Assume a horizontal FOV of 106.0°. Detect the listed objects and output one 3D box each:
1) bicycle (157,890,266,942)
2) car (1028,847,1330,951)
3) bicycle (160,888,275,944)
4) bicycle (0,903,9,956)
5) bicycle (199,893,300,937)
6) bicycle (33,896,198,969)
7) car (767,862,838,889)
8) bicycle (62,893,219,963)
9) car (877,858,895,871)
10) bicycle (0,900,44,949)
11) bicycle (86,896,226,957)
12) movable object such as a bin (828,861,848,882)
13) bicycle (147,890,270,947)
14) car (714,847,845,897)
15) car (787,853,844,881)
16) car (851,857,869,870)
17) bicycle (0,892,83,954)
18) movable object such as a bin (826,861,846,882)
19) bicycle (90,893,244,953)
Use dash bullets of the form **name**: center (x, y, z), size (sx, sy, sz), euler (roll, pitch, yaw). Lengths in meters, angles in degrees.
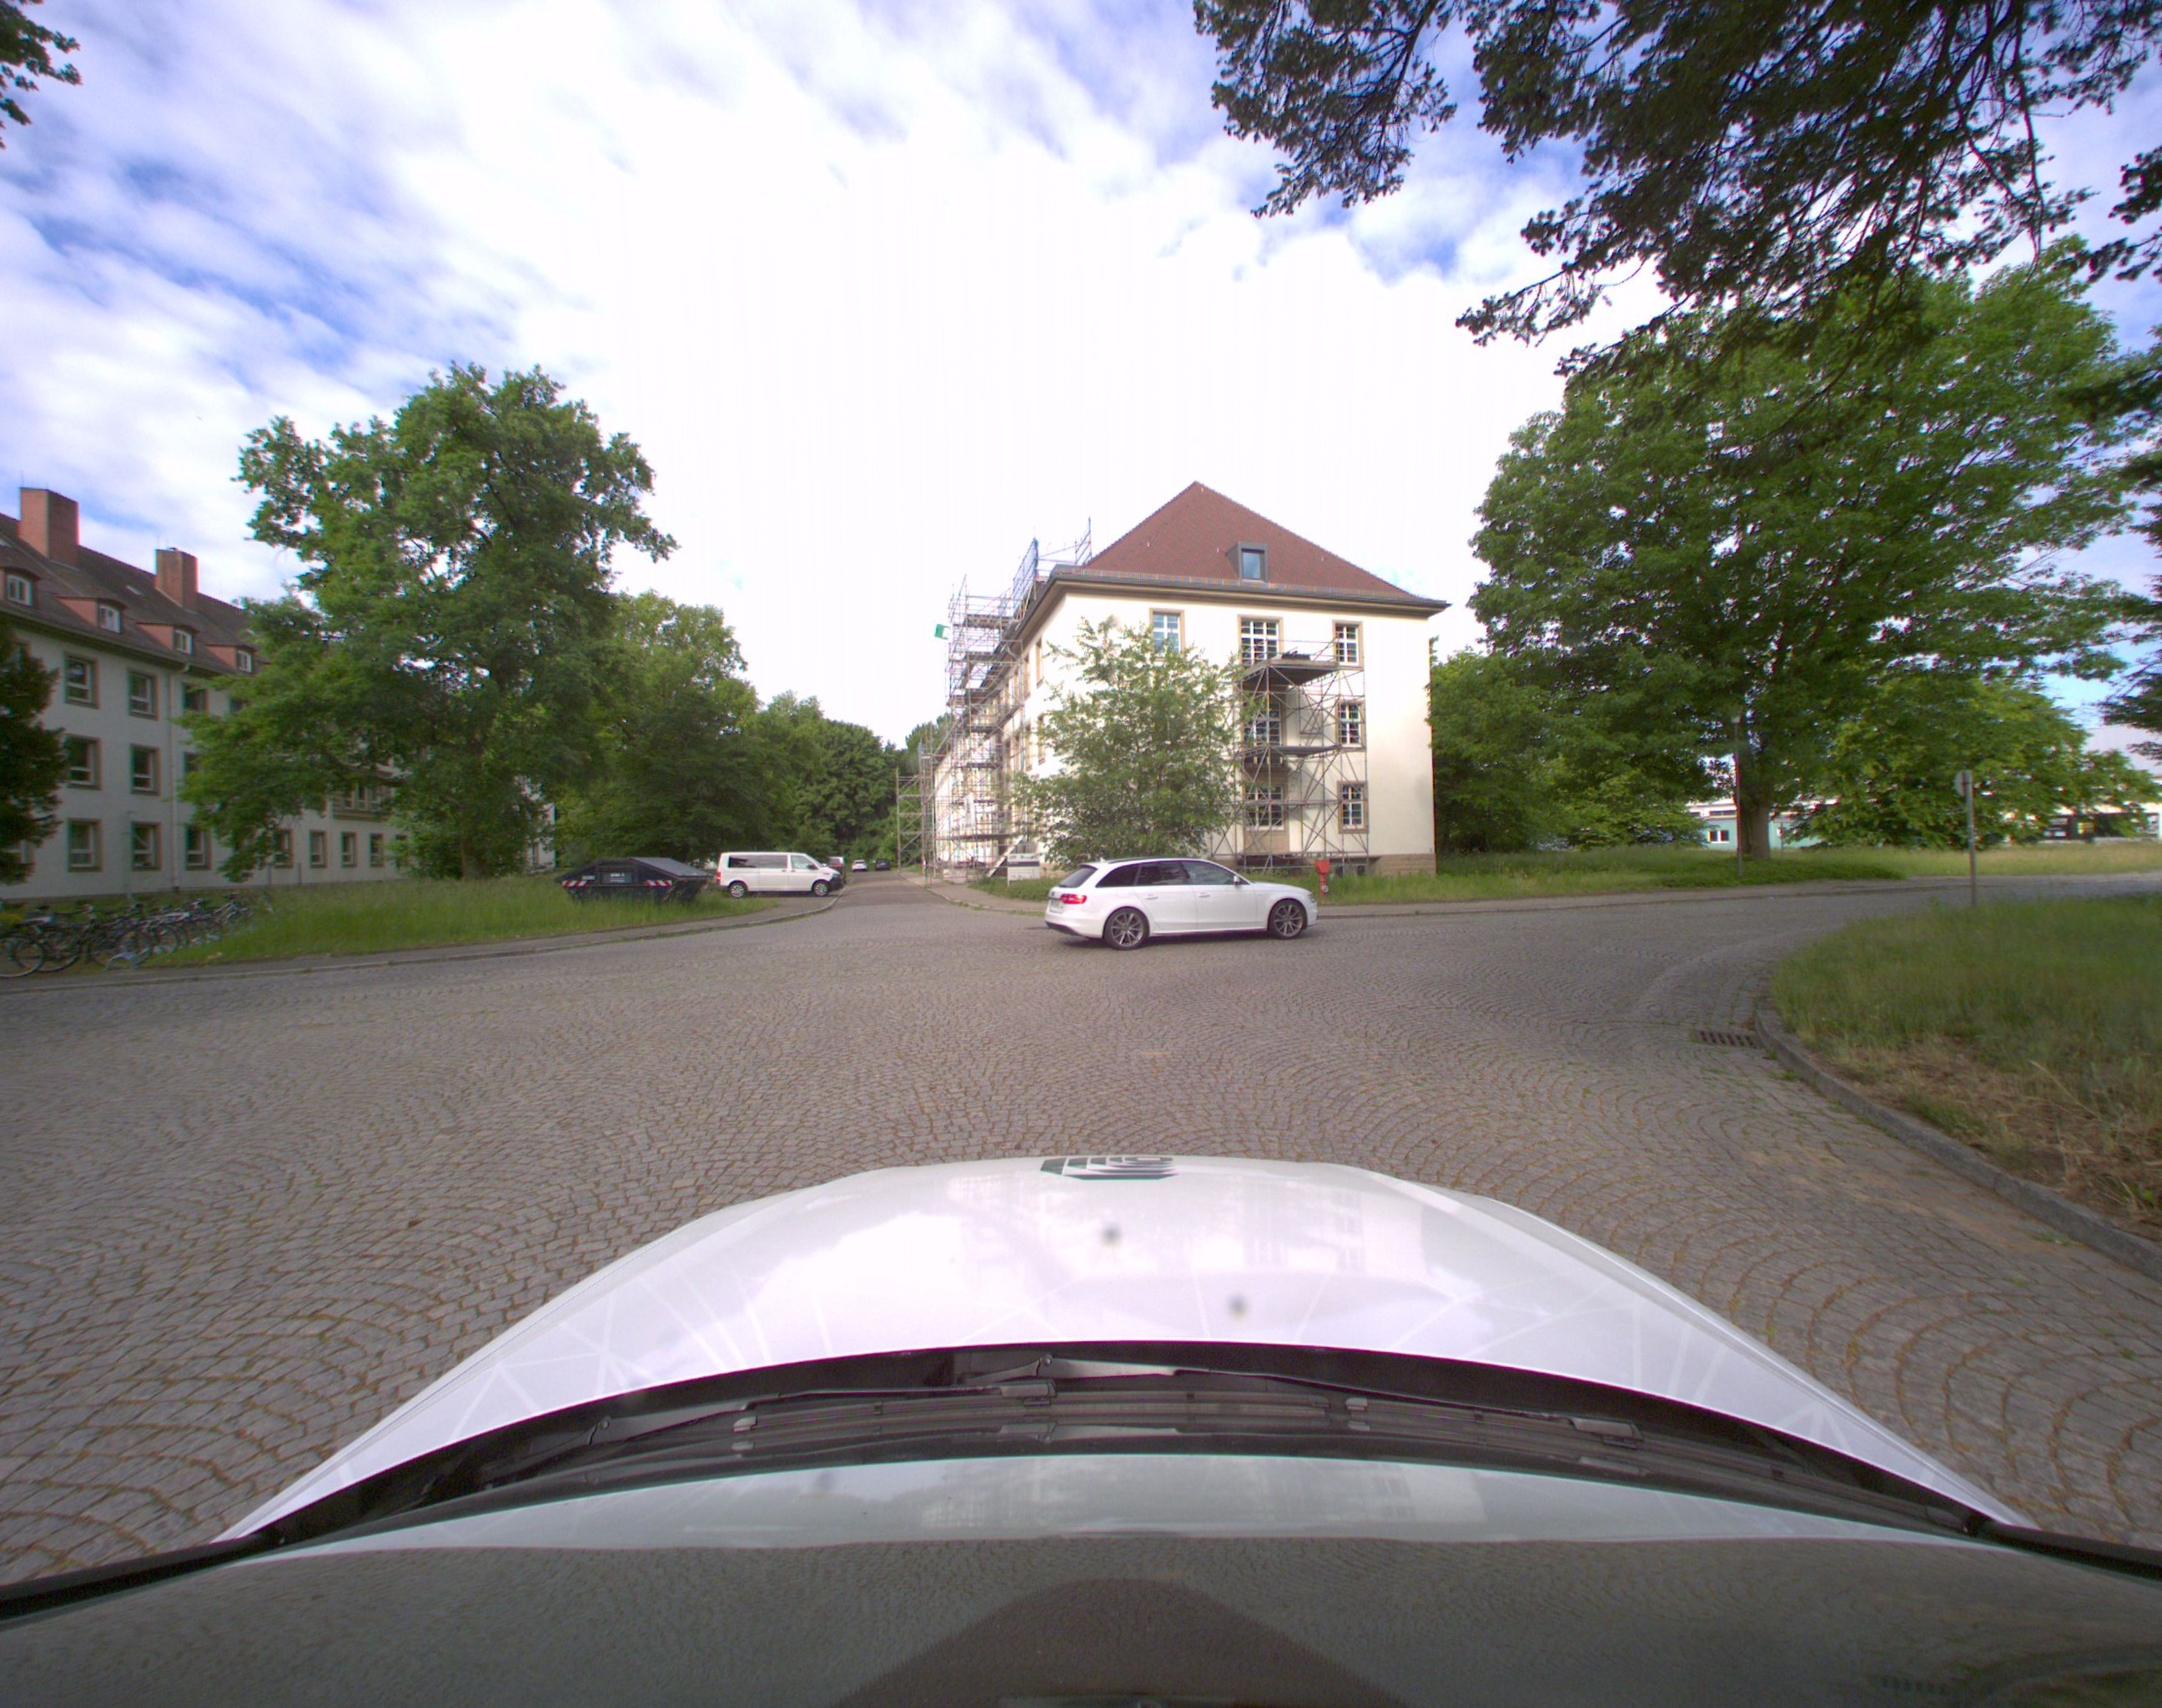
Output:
- **bicycle**: center (-20.556, 1.443, 19.293), size (1.628, 1.058, 0.521), euler (-3, 3, -34)
- **car**: center (1.610, 0.665, 13.704), size (4.700, 1.437, 1.845), euler (-2, 1, -16)
- **bicycle**: center (-20.037, 1.414, 18.949), size (1.709, 1.116, 0.536), euler (-3, 3, -34)
- **bicycle**: center (-22.439, 1.540, 16.042), size (1.525, 1.035, 0.538), euler (-2, 2, -45)
- **bicycle**: center (-20.402, 1.477, 20.019), size (1.628, 0.910, 0.521), euler (-3, 3, -34)
- **bicycle**: center (-17.709, 1.407, 15.007), size (1.781, 1.103, 0.695), euler (-3, 3, -34)
- **car**: center (-16.385, 1.255, 48.049), size (3.624, 1.481, 1.816), euler (1, -2, -7)
- **bicycle**: center (-18.009, 1.392, 15.665), size (1.806, 1.103, 0.695), euler (-3, 3, -34)
- **car**: center (-24.155, 1.308, 101.109), size (2.065, 1.594, 3.983), euler (1, -2, -12)
- **bicycle**: center (-24.028, 1.588, 17.999), size (1.268, 1.029, 0.429), euler (-3, -2, -34)
- **bicycle**: center (-18.380, 1.416, 16.240), size (1.703, 1.001, 0.625), euler (-3, 3, -34)
- **movable object such as a bin**: center (-16.452, 1.168, 55.203), size (1.185, 1.407, 0.970), euler (1, -2, -14)
- **bicycle**: center (-19.749, 1.440, 18.493), size (1.784, 1.105, 0.536), euler (-3, 3, -34)
- **car**: center (-13.080, 0.772, 35.754), size (5.211, 2.060, 2.176), euler (0, -1, -16)
- **car**: center (-20.207, 1.010, 62.006), size (3.999, 2.014, 1.909), euler (1, -2, -19)
- **car**: center (-27.167, 1.227, 99.941), size (2.006, 1.548, 3.934), euler (1, -2, -17)
- **bicycle**: center (-22.353, 1.458, 17.112), size (1.653, 1.185, 0.567), euler (-2, 2, -40)
- **movable object such as a bin**: center (-16.222, 1.163, 53.900), size (1.185, 1.407, 0.970), euler (1, -2, -14)
- **bicycle**: center (-18.876, 1.405, 16.887), size (1.968, 1.004, 0.679), euler (-3, 3, -34)
